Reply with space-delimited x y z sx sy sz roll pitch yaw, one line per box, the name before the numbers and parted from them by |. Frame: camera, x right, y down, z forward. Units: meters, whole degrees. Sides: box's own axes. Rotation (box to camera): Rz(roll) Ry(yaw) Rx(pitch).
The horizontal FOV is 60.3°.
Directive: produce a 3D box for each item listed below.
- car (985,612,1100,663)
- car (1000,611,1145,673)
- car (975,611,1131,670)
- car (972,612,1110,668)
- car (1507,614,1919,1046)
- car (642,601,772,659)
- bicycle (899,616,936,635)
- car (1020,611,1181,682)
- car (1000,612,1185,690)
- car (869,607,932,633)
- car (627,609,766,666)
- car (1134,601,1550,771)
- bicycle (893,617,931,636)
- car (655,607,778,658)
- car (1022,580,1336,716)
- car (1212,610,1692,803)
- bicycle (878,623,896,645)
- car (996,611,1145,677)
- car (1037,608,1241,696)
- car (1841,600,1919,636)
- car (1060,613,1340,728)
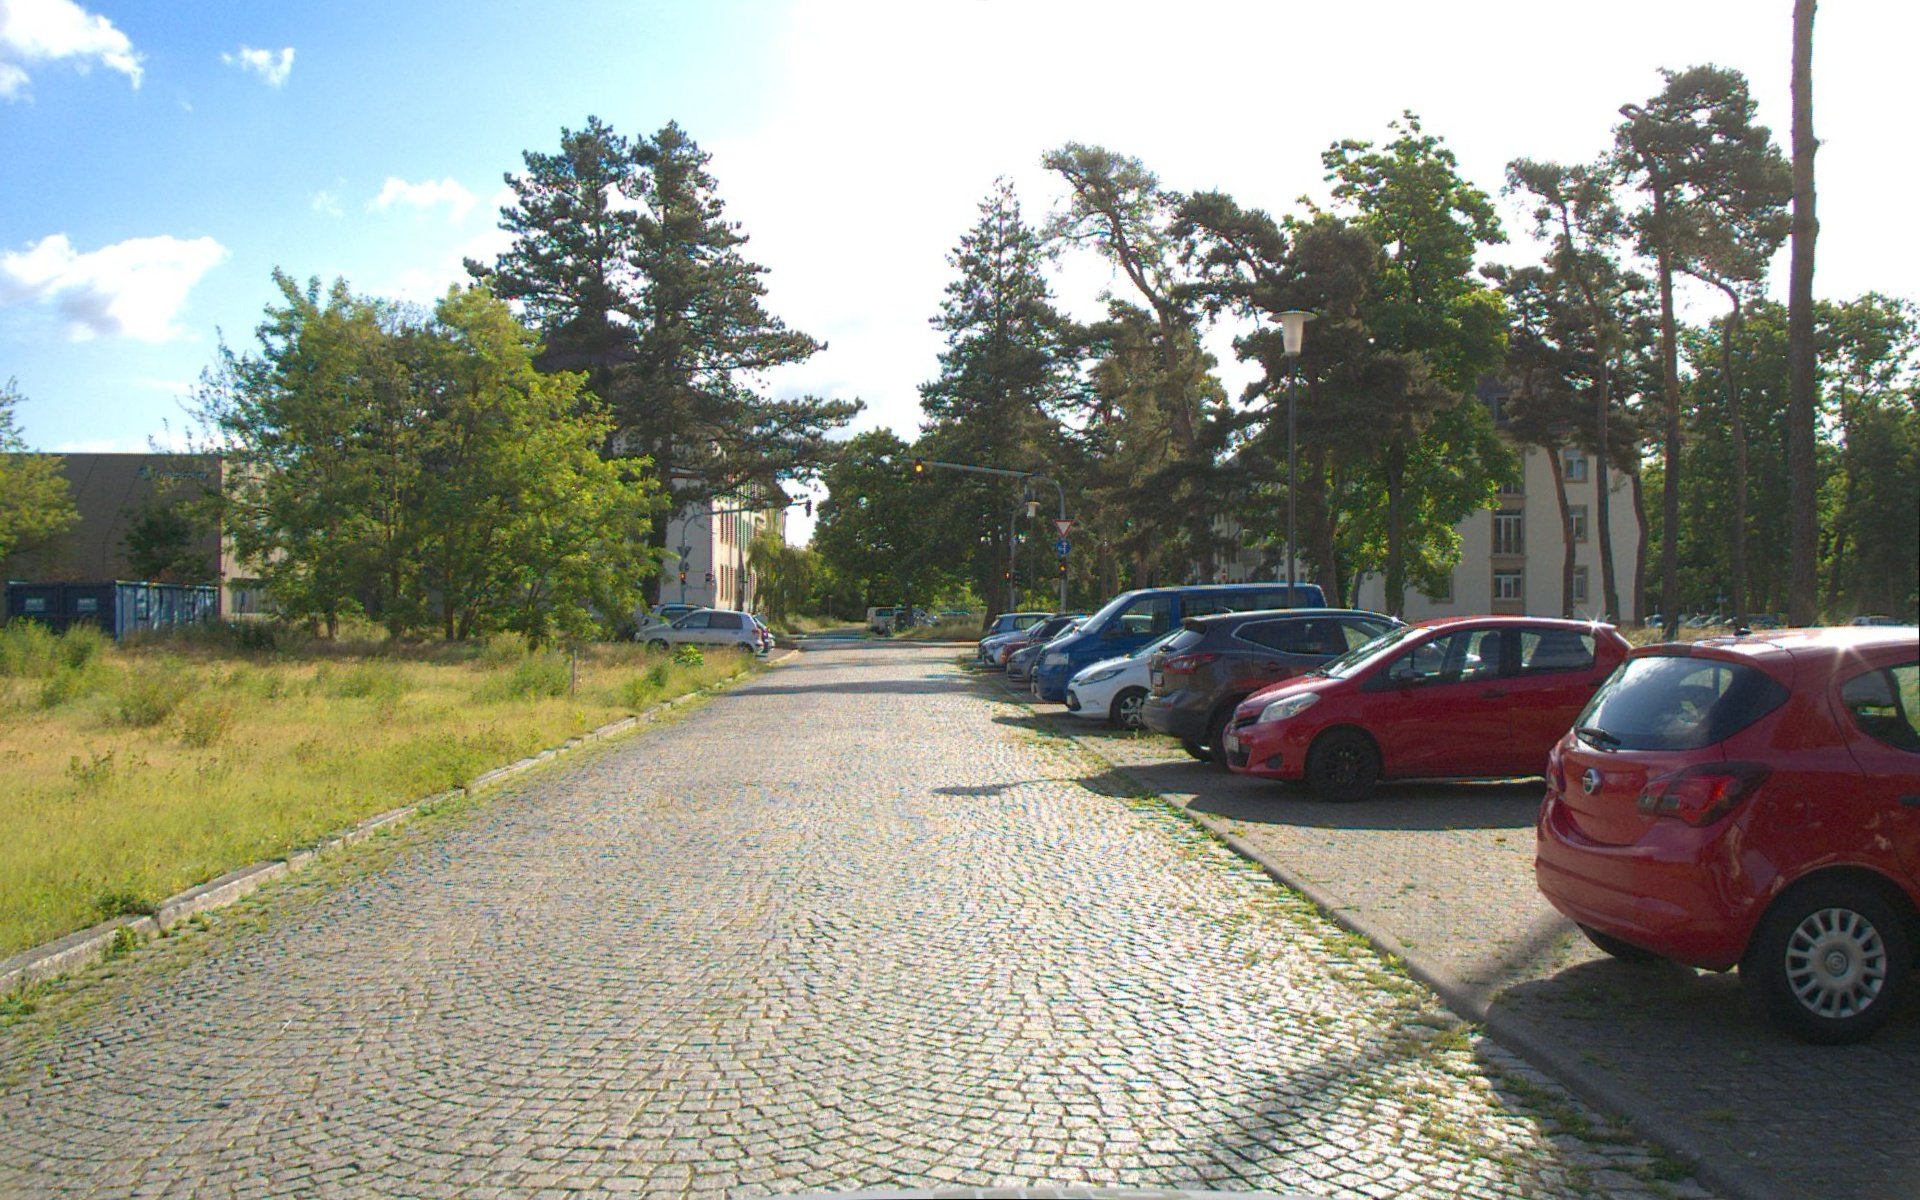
car | 2.462 1.106 49.779 3.277 1.509 1.644 0 0 -4
car | 2.846 1.055 42.302 3.532 1.556 1.644 0 0 -4
car | 2.469 1.069 44.363 3.957 1.556 1.643 0 0 -7
car | 2.289 1.111 47.127 3.760 1.556 1.644 0 0 -4
car | 4.428 0.813 6.855 3.751 1.504 1.644 -1 0 -4
car | -8.202 0.976 53.857 3.908 1.629 1.999 3 -1 -3
bicycle | -2.566 1.522 99.793 2.135 1.119 0.804 1 -1 -13
car | 3.125 1.023 37.160 3.409 1.556 1.644 0 0 -4
car | 2.705 1.034 34.217 3.603 1.493 1.644 -1 0 -4
car | -4.185 1.415 115.955 4.391 1.758 1.999 1 -1 -4
car | -7.675 1.085 48.488 3.909 1.628 1.998 0 0 -6
car | 3.858 0.839 17.102 3.858 1.650 1.770 0 0 -4
bicycle | -2.879 1.587 98.534 2.135 1.119 0.804 1 -1 -13
car | -8.245 1.095 56.256 3.908 1.478 1.999 3 -1 -3
car | 3.395 0.727 26.185 4.586 2.049 2.081 0 0 -6
car | 4.199 0.874 14.441 3.688 1.557 1.644 0 0 -4
bicycle | -4.189 1.934 95.000 0.789 1.190 2.176 -2 0 -8
car | 2.626 1.039 39.828 3.409 1.556 1.644 0 0 -4
car | 3.347 0.966 31.361 3.620 1.491 1.645 -2 0 -2
car | 52.936 1.003 94.703 3.907 2.049 1.999 0 0 -3
car | 3.356 0.965 23.499 3.646 1.514 1.644 -1 0 -5
